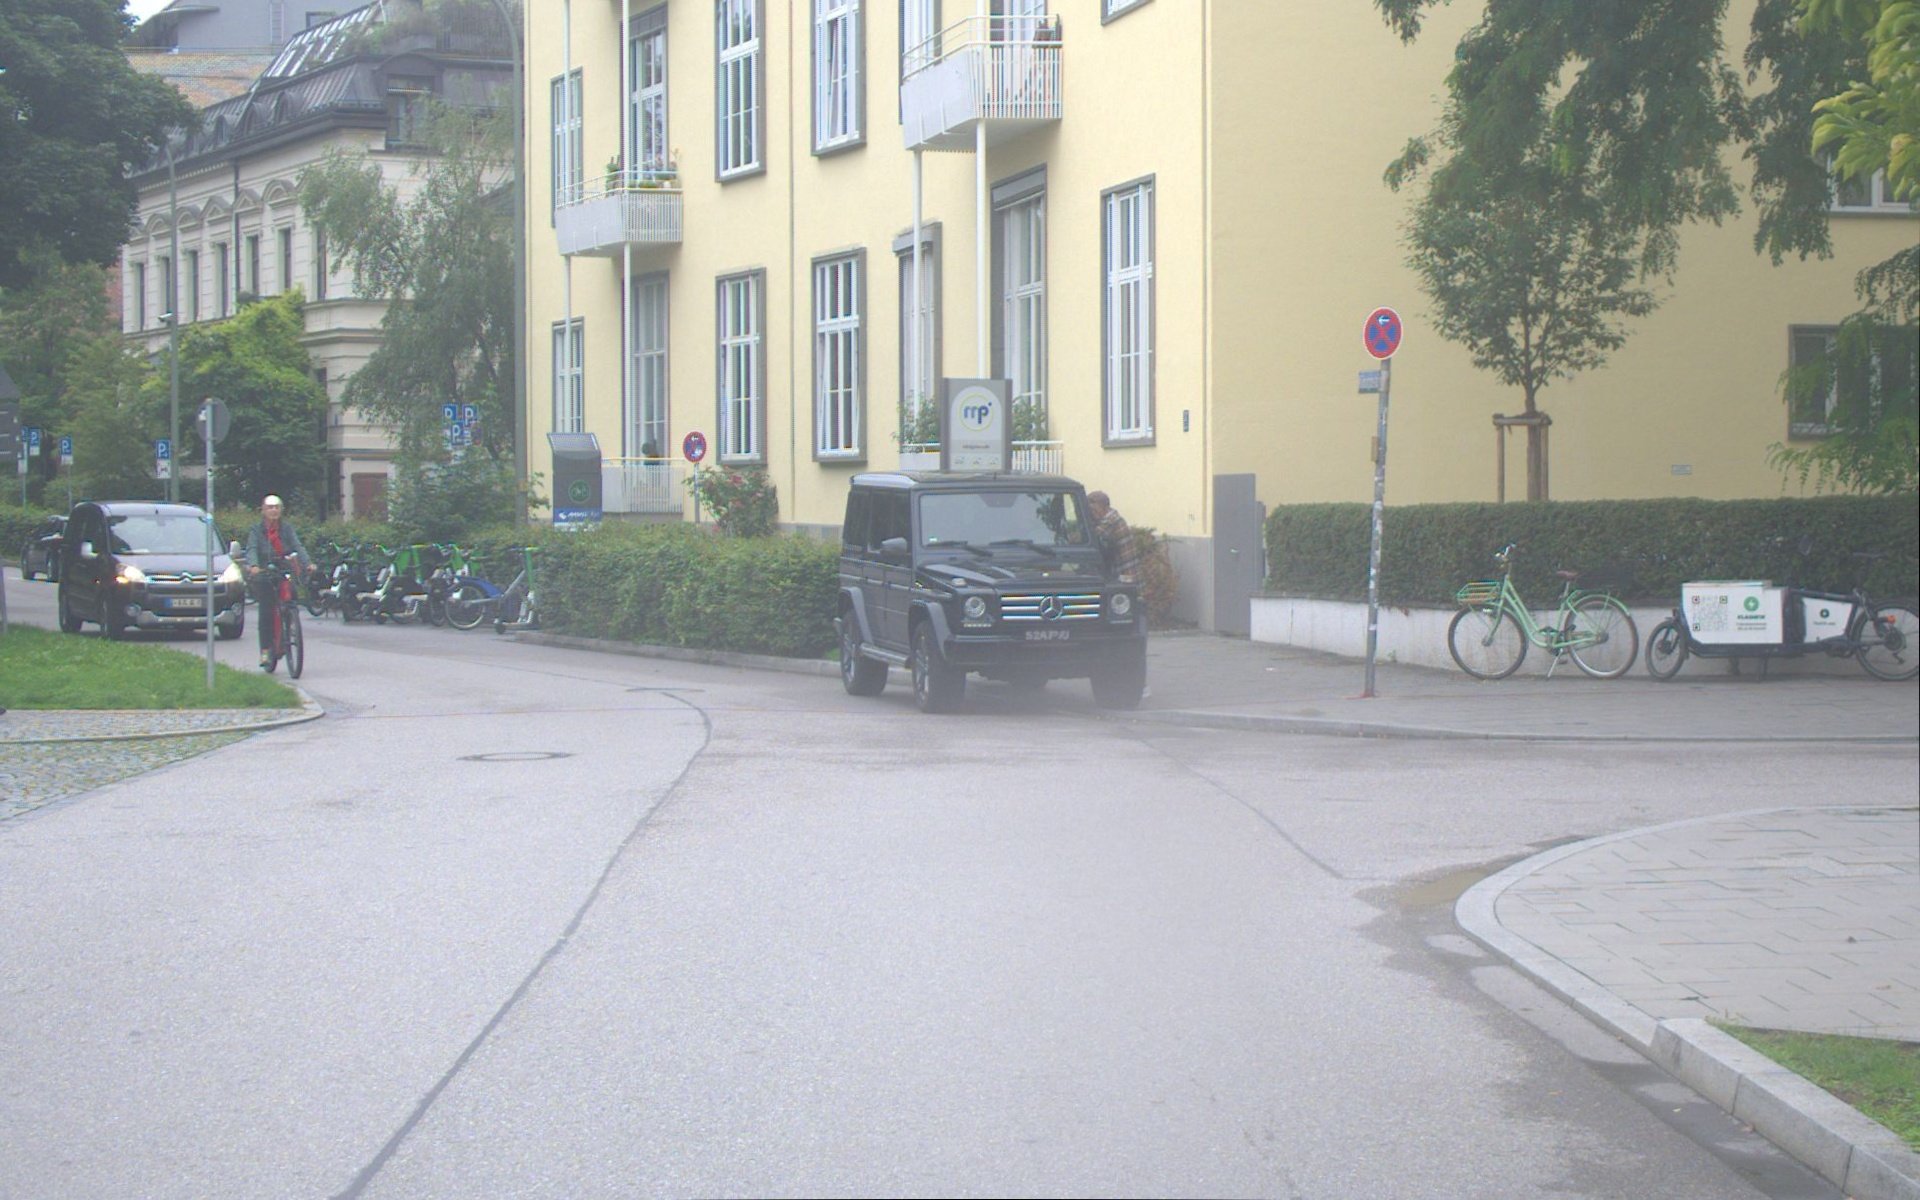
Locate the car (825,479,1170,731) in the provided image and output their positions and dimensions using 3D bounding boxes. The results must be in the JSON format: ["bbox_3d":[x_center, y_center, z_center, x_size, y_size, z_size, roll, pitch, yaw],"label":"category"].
[{"bbox_3d":[0.220,-0.025,29.156,1.762,1.868,4.381,3,1,-14],"label":"car"}]

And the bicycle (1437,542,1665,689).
[{"bbox_3d":[5.040,0.115,29.430,1.927,1.197,0.594,2,2,45],"label":"bicycle"}]

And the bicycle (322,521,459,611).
[{"bbox_3d":[-8.541,-0.529,51.618,0.733,1.301,2.152,1,2,35],"label":"bicycle"}]

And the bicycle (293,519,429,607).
[{"bbox_3d":[-9.095,-0.576,52.307,0.733,1.301,2.152,1,2,35],"label":"bicycle"}]

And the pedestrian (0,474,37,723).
[{"bbox_3d":[-8.159,-0.024,28.060,0.931,2.006,0.956,0,2,3],"label":"pedestrian"}]

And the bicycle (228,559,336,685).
[{"bbox_3d":[-6.948,0.204,35.157,0.743,1.210,2.145,-2,2,-20],"label":"bicycle"}]

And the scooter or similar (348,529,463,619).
[{"bbox_3d":[-8.232,-0.395,51.053,0.733,1.301,1.727,1,2,31],"label":"scooter or similar"}]

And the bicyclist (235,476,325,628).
[{"bbox_3d":[-6.958,-0.495,35.154,0.743,1.515,0.946,-2,2,-20],"label":"bicyclist"}]

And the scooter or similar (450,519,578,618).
[{"bbox_3d":[-6.055,-0.441,46.809,0.733,1.301,2.154,0,2,23],"label":"scooter or similar"}]

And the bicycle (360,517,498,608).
[{"bbox_3d":[-7.809,-0.566,50.670,0.733,1.301,2.152,1,2,35],"label":"bicycle"}]

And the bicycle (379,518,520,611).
[{"bbox_3d":[-7.385,-0.532,49.819,0.733,1.301,2.152,1,2,35],"label":"bicycle"}]

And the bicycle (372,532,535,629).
[{"bbox_3d":[-7.026,-0.285,47.718,2.150,1.301,0.734,-2,2,-38],"label":"bicycle"}]

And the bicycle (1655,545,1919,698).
[{"bbox_3d":[6.756,0.160,27.987,2.069,1.197,0.595,1,2,22],"label":"bicycle"}]

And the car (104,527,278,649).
[{"bbox_3d":[-10.067,-0.194,44.840,1.914,1.466,4.002,-1,2,-17],"label":"car"}]

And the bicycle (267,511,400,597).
[{"bbox_3d":[-9.834,-0.737,54.044,0.733,1.301,2.152,1,2,35],"label":"bicycle"}]

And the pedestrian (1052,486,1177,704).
[{"bbox_3d":[1.308,-0.055,29.210,0.874,1.817,0.799,0,2,-13],"label":"pedestrian"}]

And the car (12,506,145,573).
[{"bbox_3d":[-18.806,-1.291,73.243,1.993,1.367,4.001,-1,1,-26],"label":"car"}]
